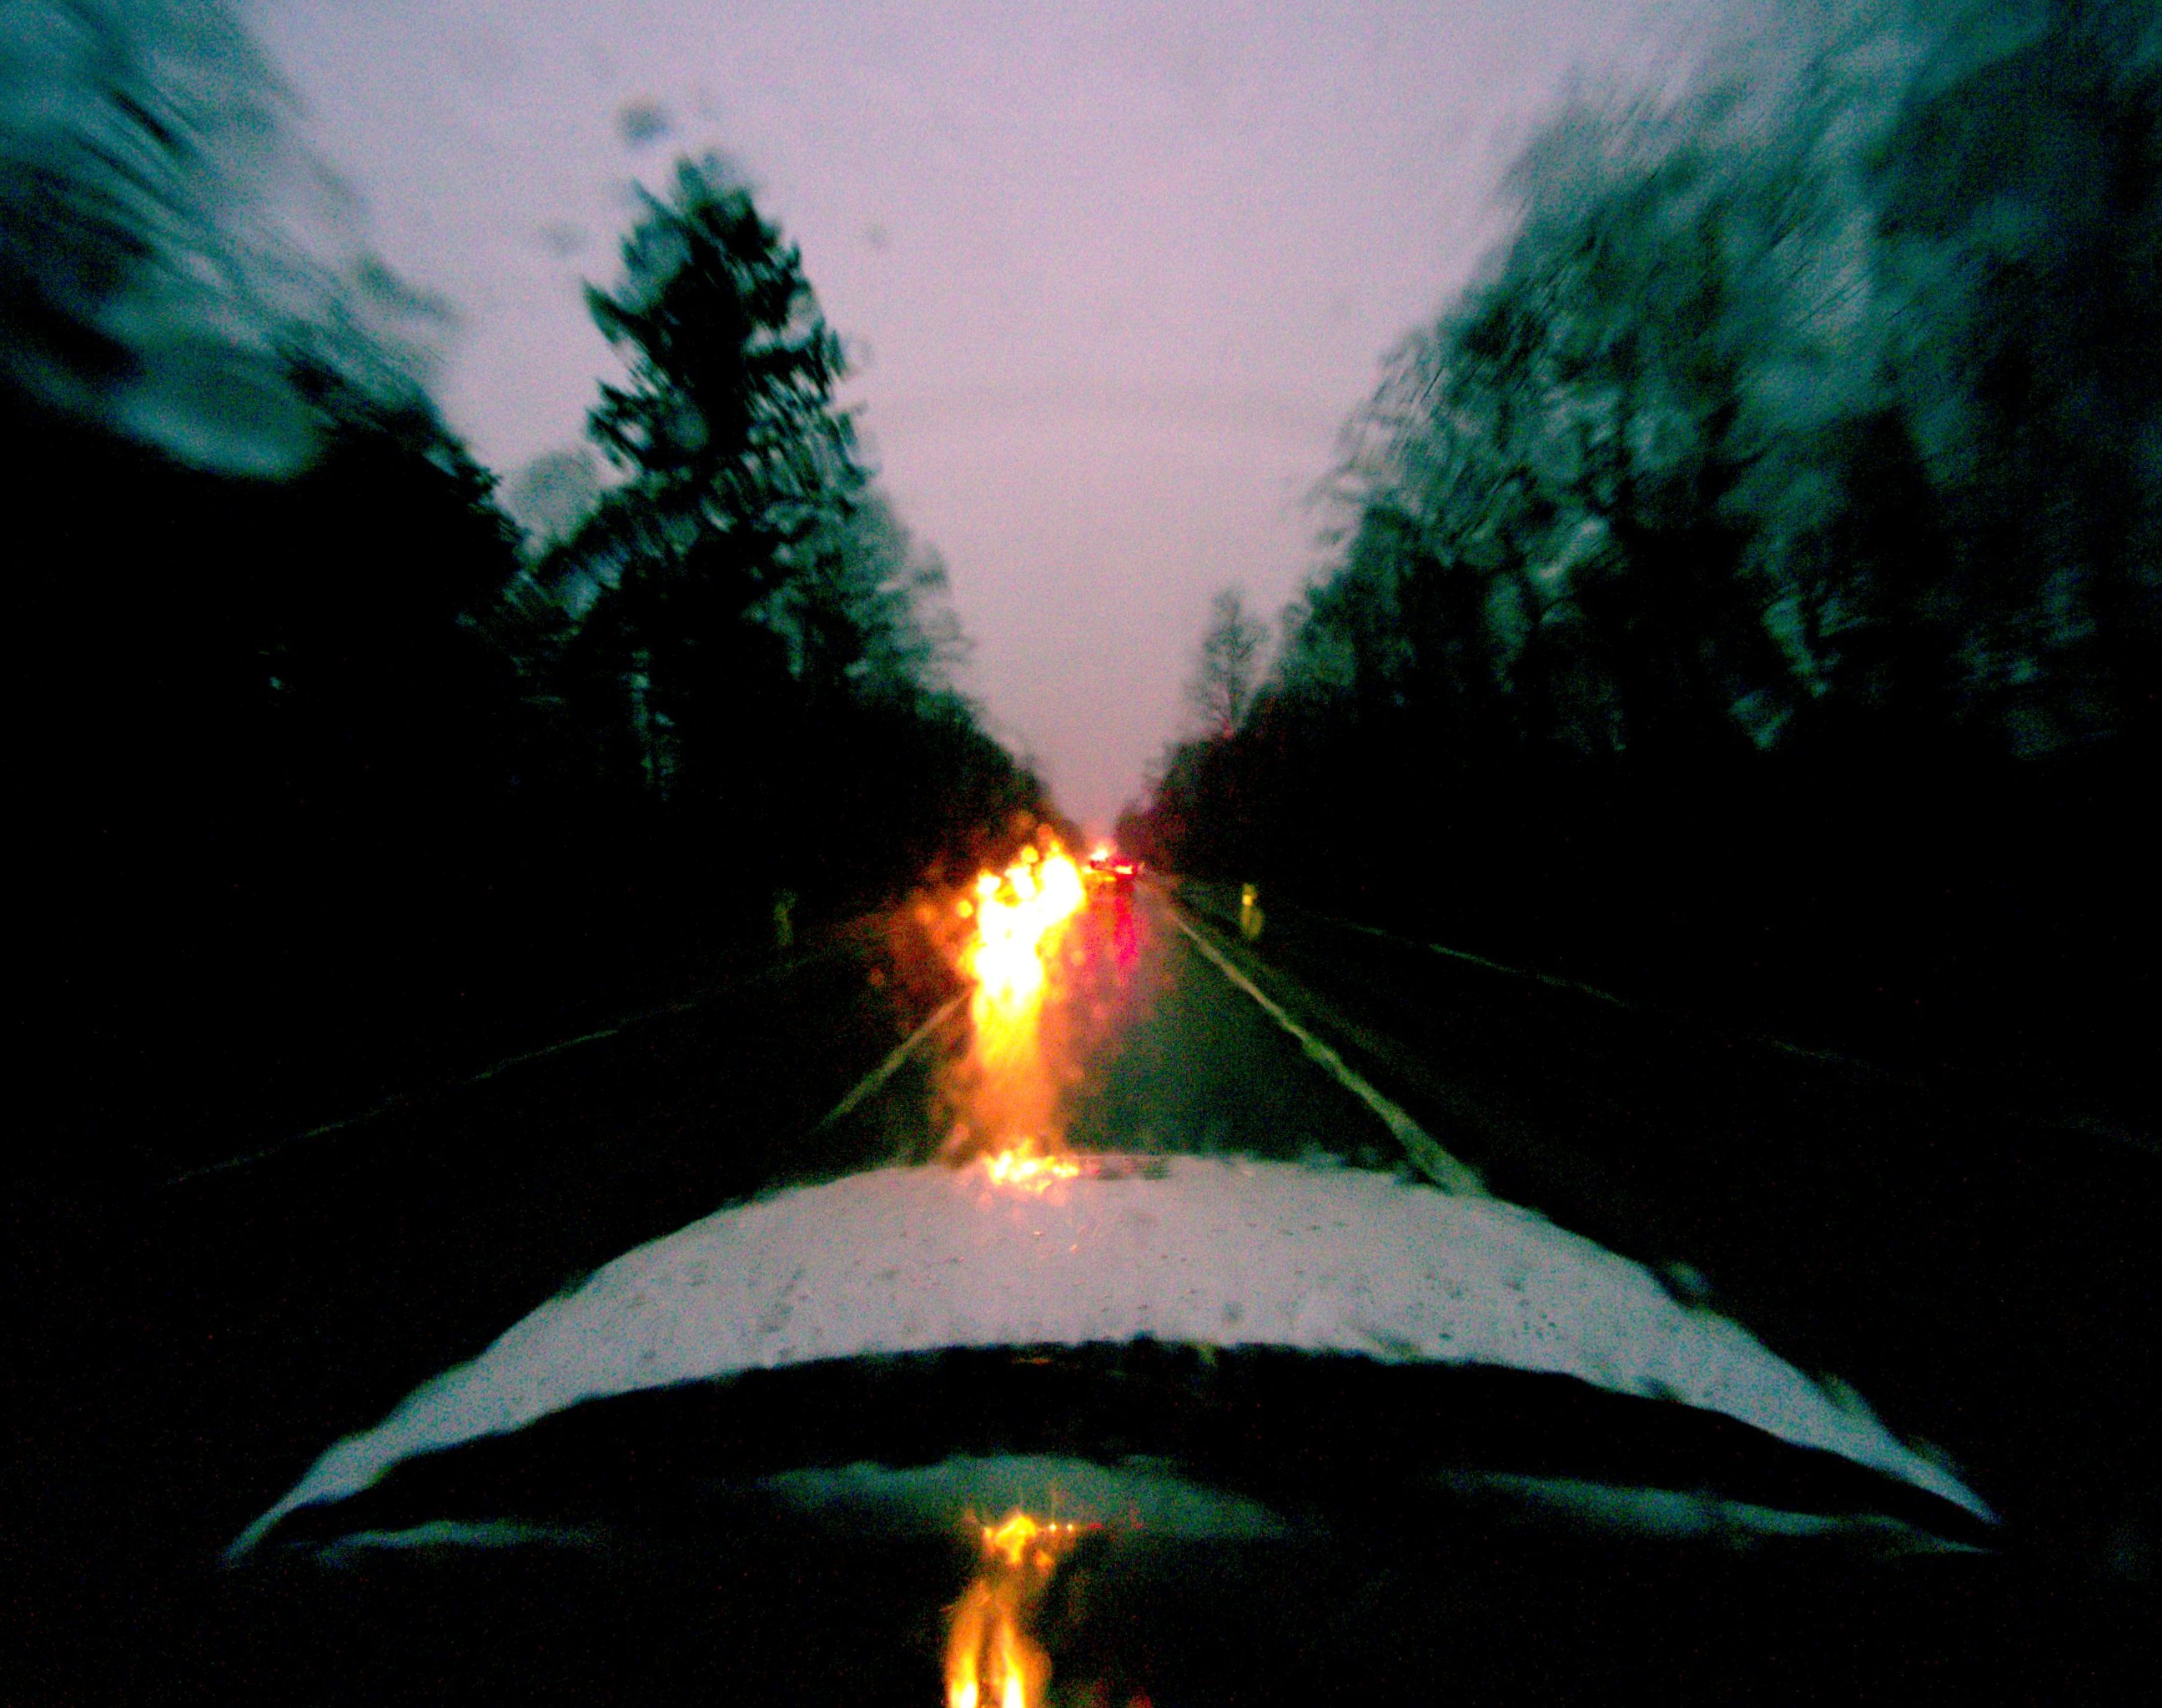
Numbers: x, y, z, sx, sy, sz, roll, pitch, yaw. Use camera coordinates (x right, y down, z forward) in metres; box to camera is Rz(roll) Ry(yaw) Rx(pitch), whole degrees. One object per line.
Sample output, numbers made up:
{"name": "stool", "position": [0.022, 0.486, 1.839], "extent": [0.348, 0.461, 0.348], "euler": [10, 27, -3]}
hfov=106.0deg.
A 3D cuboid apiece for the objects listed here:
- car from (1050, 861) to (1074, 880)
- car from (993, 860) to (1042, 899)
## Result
{"name": "car", "position": [-1.464, 1.319, 64.472], "extent": [1.697, 1.363, 4.376], "euler": [-3, -1, 1]}
{"name": "car", "position": [-2.511, 0.982, 32.962], "extent": [1.507, 1.413, 3.662], "euler": [-2, 0, 2]}
